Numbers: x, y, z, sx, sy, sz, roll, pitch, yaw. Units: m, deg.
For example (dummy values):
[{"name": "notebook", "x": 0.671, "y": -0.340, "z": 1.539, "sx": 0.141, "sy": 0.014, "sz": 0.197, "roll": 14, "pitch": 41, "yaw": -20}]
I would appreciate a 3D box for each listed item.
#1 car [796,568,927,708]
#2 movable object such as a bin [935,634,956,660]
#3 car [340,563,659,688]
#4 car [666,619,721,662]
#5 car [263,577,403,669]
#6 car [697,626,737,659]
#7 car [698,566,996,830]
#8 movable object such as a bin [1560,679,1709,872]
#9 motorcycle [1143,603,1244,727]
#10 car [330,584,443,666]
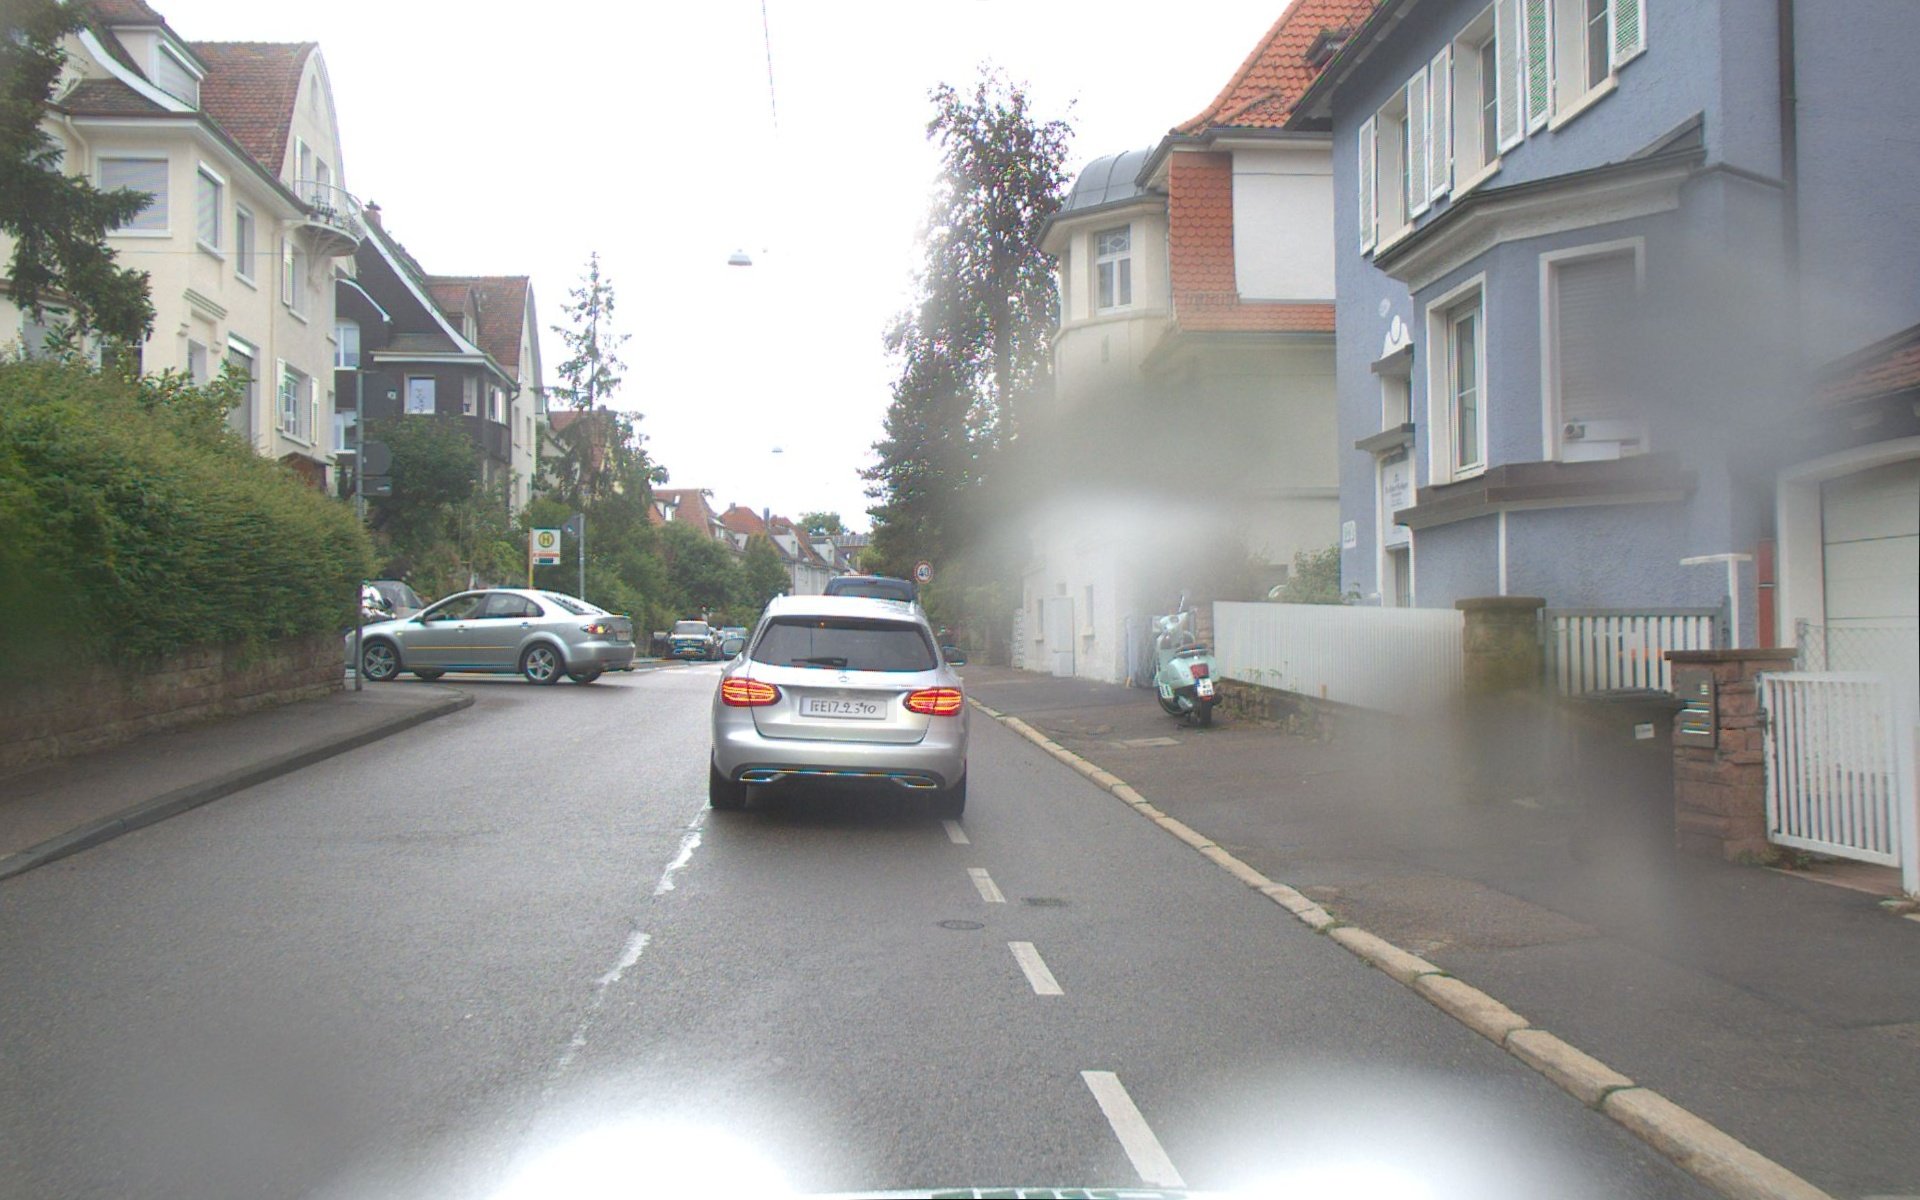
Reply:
[{"name": "car", "x": -1.454, "y": 0.627, "z": 25.266, "sx": 1.806, "sy": 1.937, "sz": 3.997, "roll": 1, "pitch": -3, "yaw": -2}, {"name": "movable object such as a bin", "x": -0.483, "y": 1.589, "z": 55.792, "sx": 0.638, "sy": 0.870, "sz": 0.502, "roll": 1, "pitch": 0, "yaw": -7}, {"name": "car", "x": -7.043, "y": 0.384, "z": 25.485, "sx": 4.273, "sy": 1.583, "sz": 1.823, "roll": 3, "pitch": -1, "yaw": 10}, {"name": "car", "x": -10.663, "y": 1.627, "z": 66.403, "sx": 1.857, "sy": 1.651, "sz": 4.373, "roll": 1, "pitch": -2, "yaw": -6}, {"name": "car", "x": -12.000, "y": 0.431, "z": 31.882, "sx": 1.733, "sy": 1.646, "sz": 3.991, "roll": 1, "pitch": 0, "yaw": -9}, {"name": "car", "x": -11.883, "y": 2.056, "z": 81.025, "sx": 1.722, "sy": 1.472, "sz": 4.410, "roll": 1, "pitch": 0, "yaw": -6}, {"name": "car", "x": -0.844, "y": 0.614, "z": 12.096, "sx": 1.781, "sy": 1.584, "sz": 3.996, "roll": 1, "pitch": 0, "yaw": -5}, {"name": "movable object such as a bin", "x": 3.544, "y": 0.909, "z": 8.716, "sx": 0.522, "sy": 0.934, "sz": 0.487, "roll": -3, "pitch": 0, "yaw": -7}, {"name": "motorcycle", "x": 2.583, "y": 0.690, "z": 18.548, "sx": 0.679, "sy": 1.247, "sz": 2.153, "roll": -6, "pitch": 0, "yaw": -1}, {"name": "car", "x": -12.914, "y": 0.542, "z": 37.459, "sx": 1.733, "sy": 1.726, "sz": 3.991, "roll": 1, "pitch": 0, "yaw": -9}]
